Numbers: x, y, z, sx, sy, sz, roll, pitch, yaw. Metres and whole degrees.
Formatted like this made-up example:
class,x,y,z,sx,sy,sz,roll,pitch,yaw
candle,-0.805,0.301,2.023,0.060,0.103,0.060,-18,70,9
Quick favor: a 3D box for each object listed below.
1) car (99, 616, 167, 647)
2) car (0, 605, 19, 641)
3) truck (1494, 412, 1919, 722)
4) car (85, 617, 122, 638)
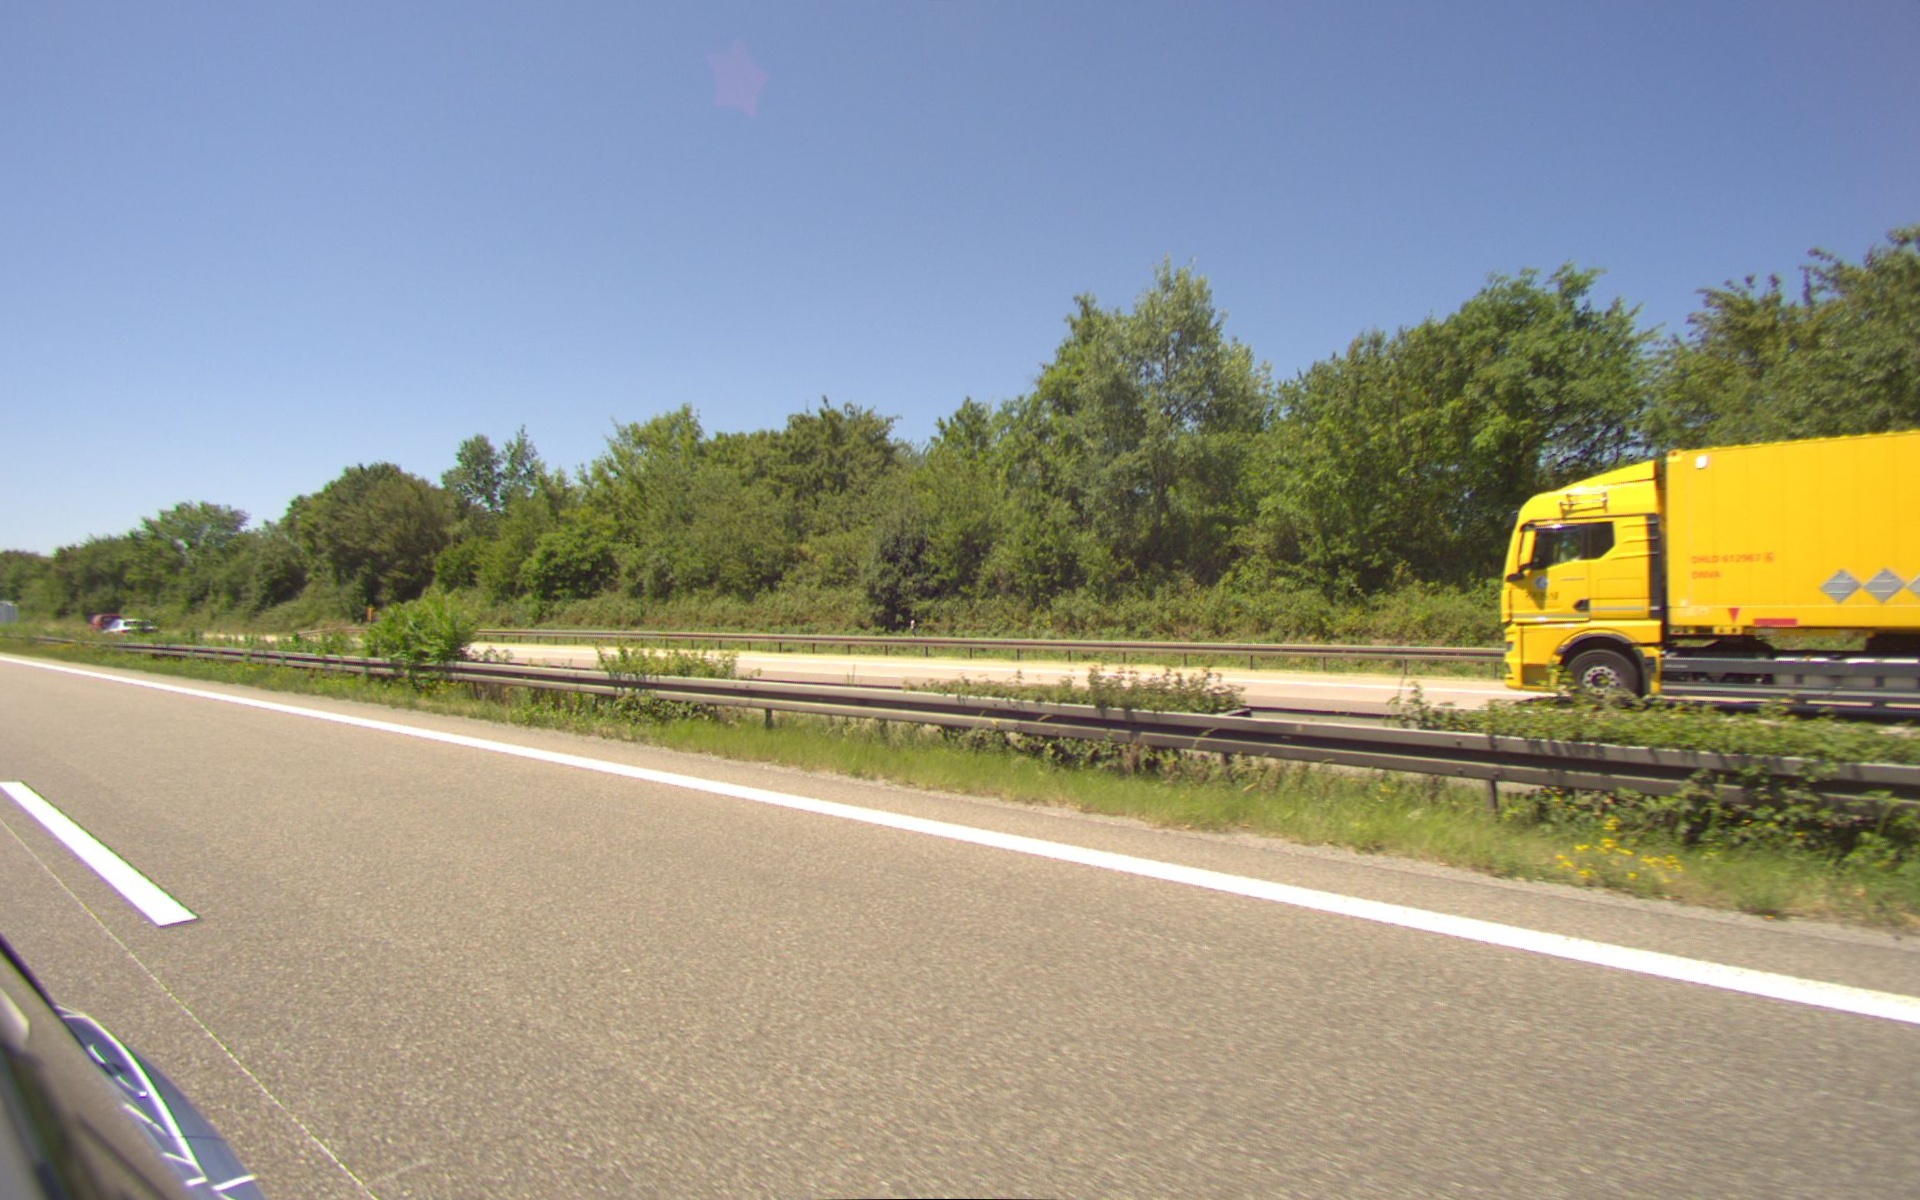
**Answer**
class,x,y,z,sx,sy,sz,roll,pitch,yaw
car,-43.329,1.642,52.976,4.915,1.547,1.820,-1,-1,40
car,-78.020,1.856,81.702,5.819,2.800,2.069,-1,-1,37
truck,13.733,-0.434,14.121,10.788,4.071,2.721,0,0,41
car,-75.498,2.435,89.156,4.762,1.790,1.687,-1,-1,39
